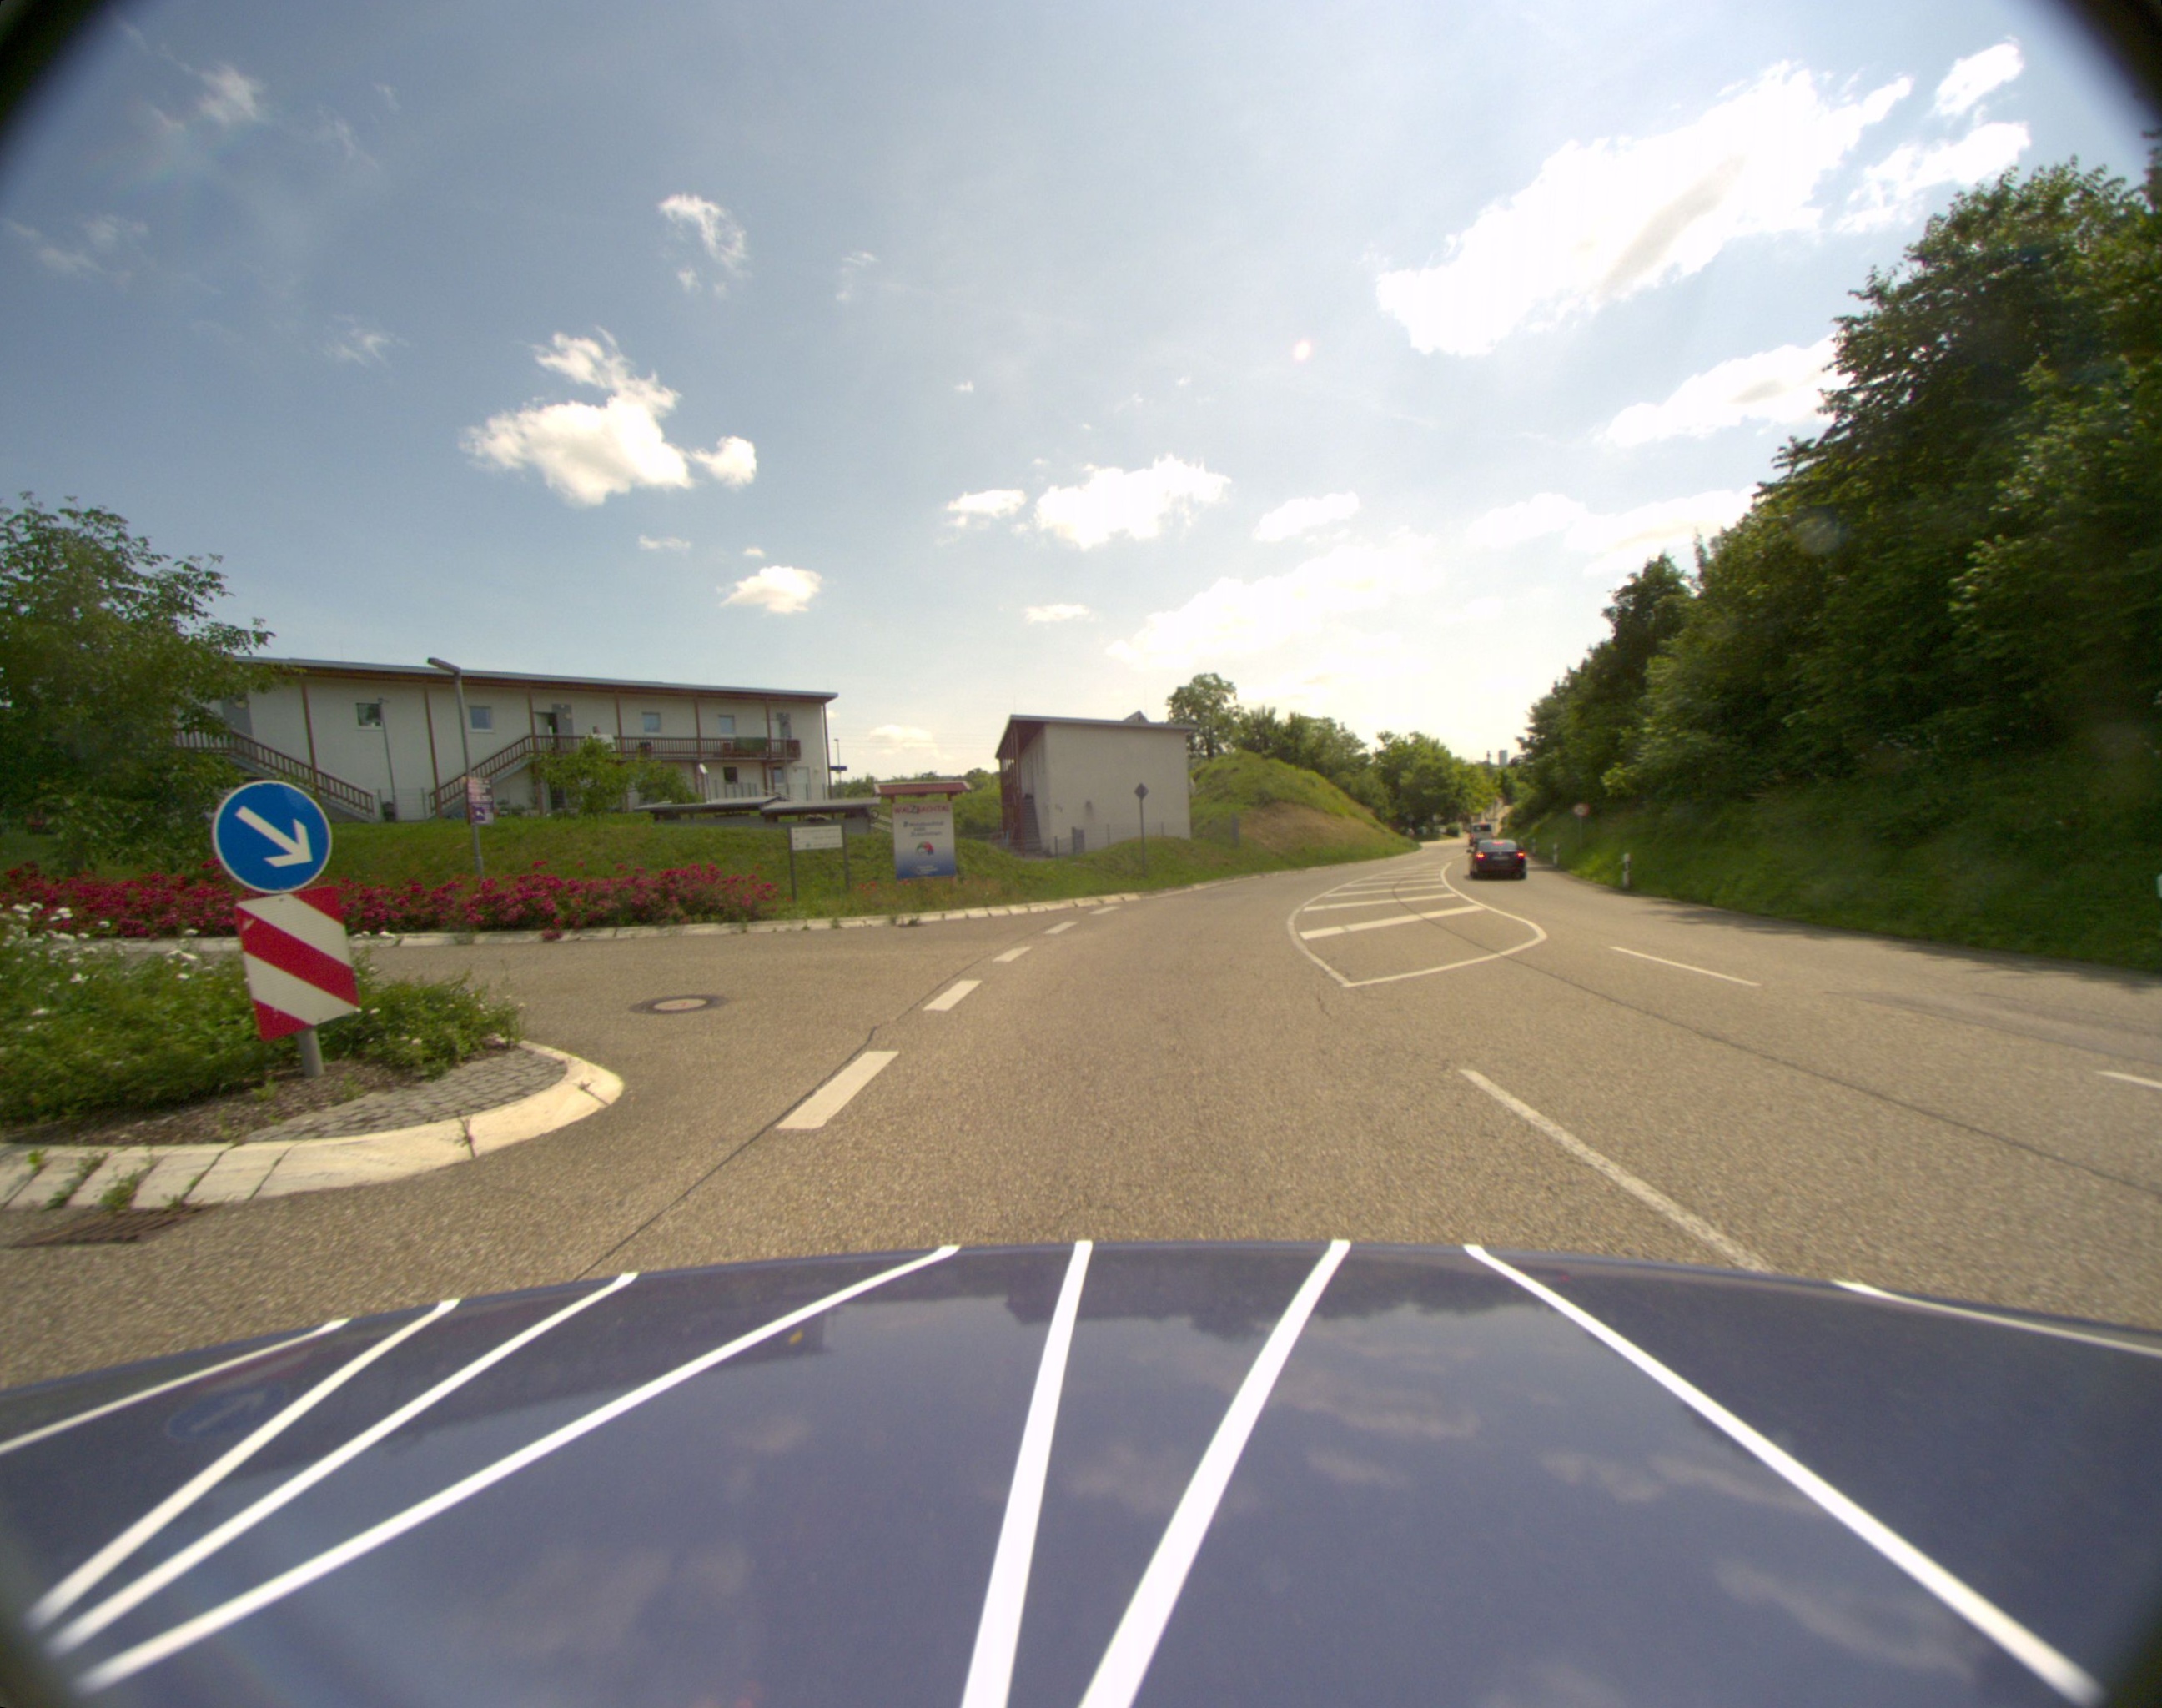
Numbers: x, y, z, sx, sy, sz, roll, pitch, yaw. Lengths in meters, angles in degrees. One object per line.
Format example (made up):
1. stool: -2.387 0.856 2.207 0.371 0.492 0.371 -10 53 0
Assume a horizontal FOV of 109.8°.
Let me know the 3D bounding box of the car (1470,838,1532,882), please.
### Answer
1. car: 15.765 0.170 28.700 1.686 1.412 4.350 0 2 24

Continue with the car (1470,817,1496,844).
1. car: 40.180 -2.395 76.053 2.087 2.279 5.951 0 5 25
